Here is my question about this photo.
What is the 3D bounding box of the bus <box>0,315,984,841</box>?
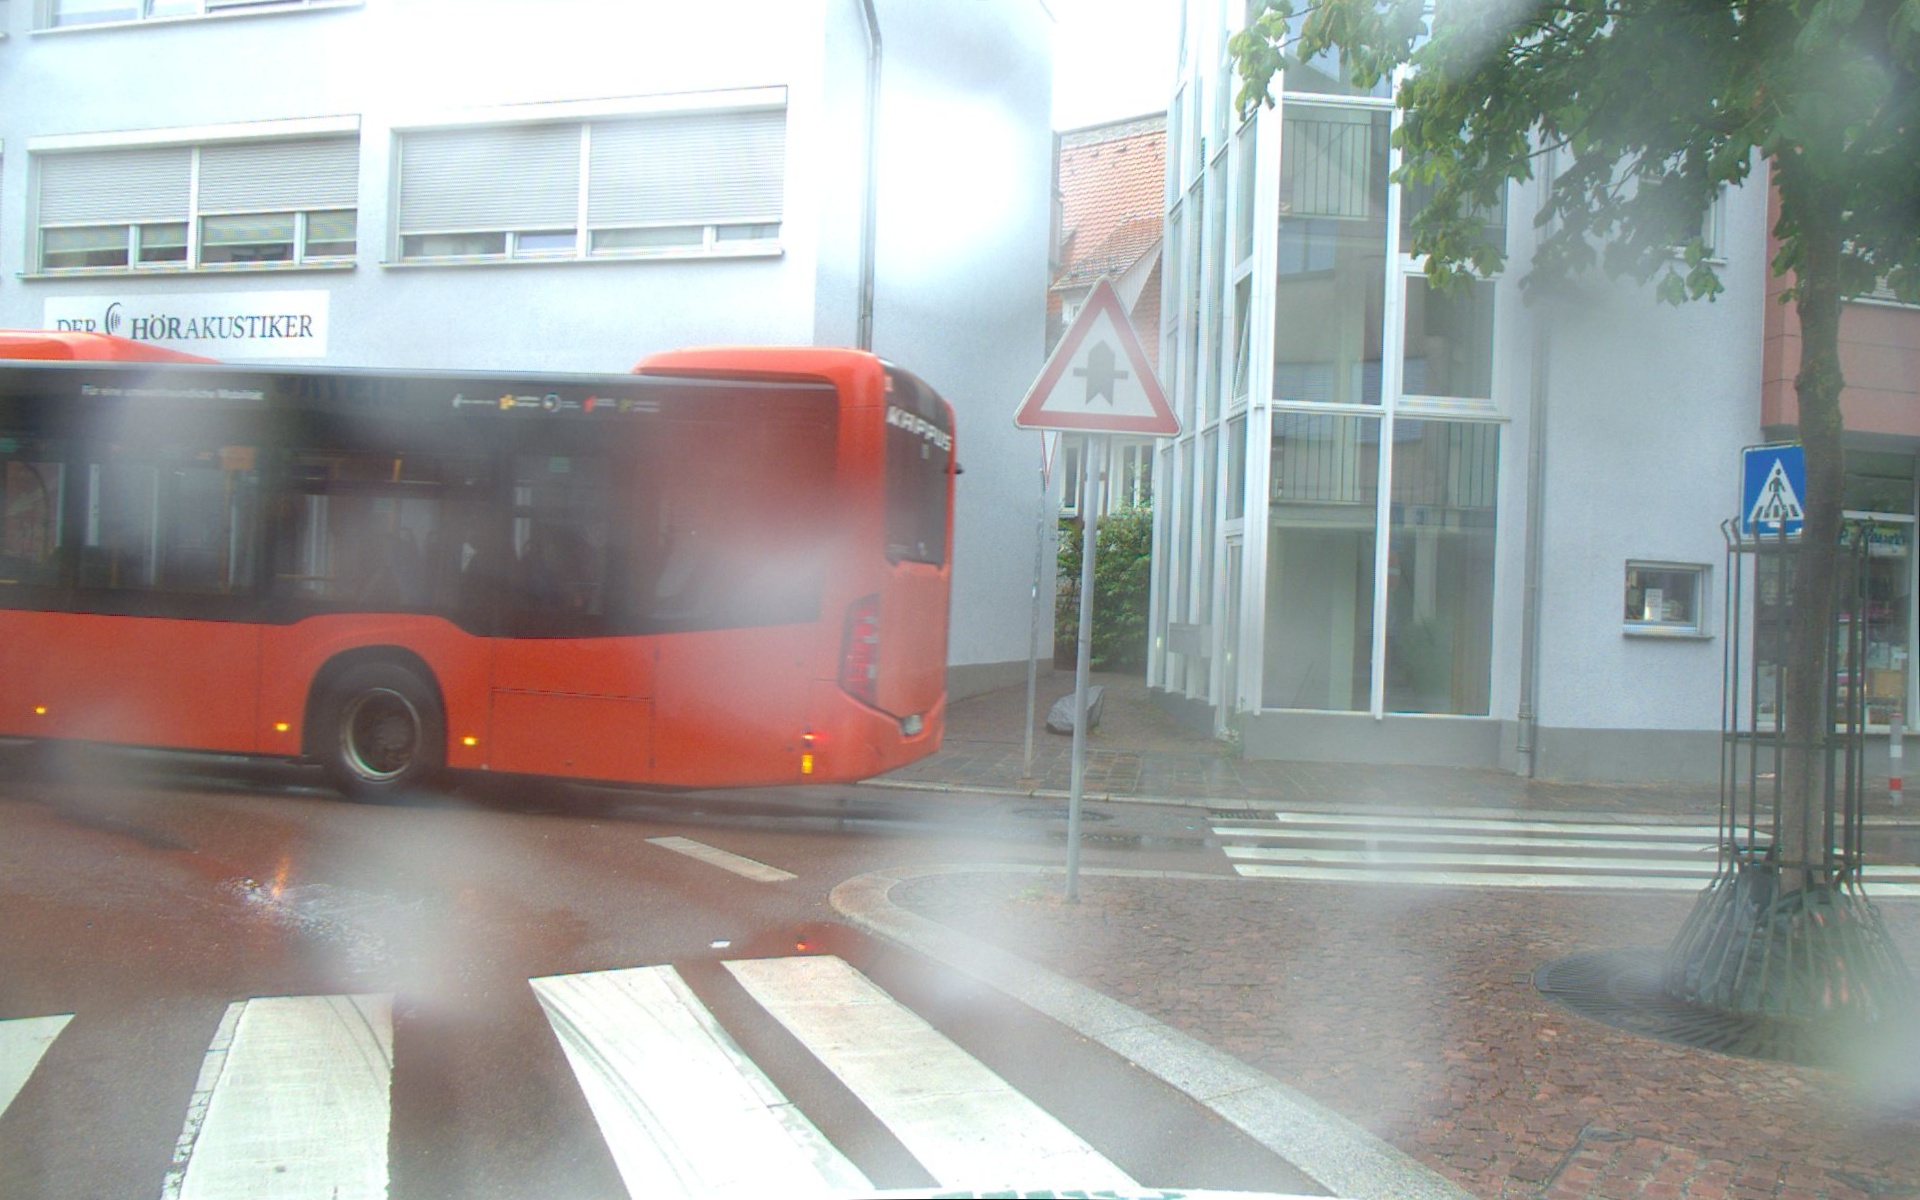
[{"bbox_3d":[-5.208,-0.288,12.295,10.347,3.142,2.824,2,0,12],"label":"bus"}]

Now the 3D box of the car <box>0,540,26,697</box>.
[{"bbox_3d":[-12.197,0.116,17.322,4.123,1.640,1.694,2,0,14],"label":"car"}]
